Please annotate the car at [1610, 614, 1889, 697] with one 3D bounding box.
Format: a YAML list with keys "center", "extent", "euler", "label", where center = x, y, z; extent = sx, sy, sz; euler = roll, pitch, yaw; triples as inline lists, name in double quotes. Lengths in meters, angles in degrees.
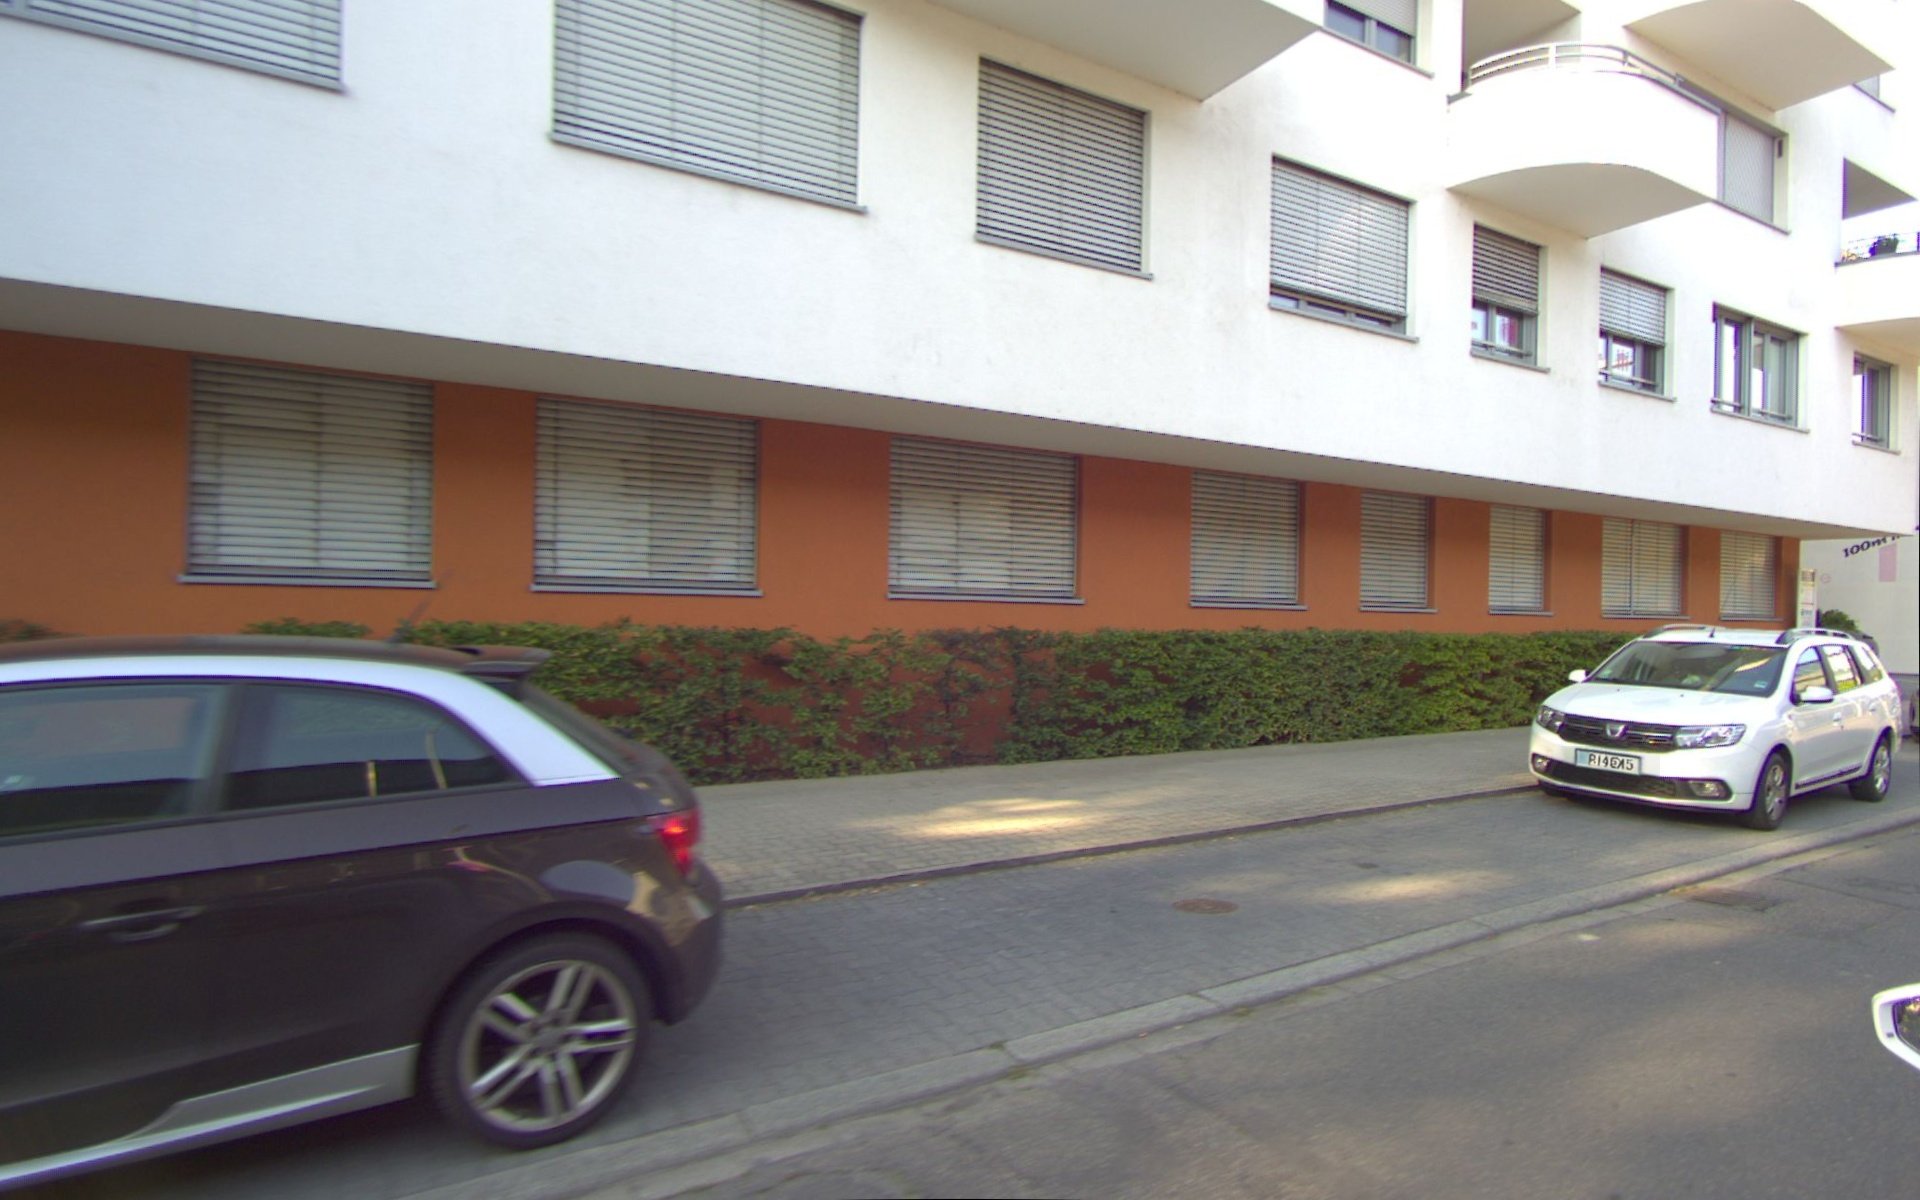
- center: [17.657, 1.155, 22.709]
  extent: [1.992, 1.660, 4.581]
  euler: [1, -1, -32]
  label: "car"

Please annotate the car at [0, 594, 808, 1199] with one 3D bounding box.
- center: [-2.521, 0.751, 2.932]
  extent: [3.730, 1.452, 1.665]
  euler: [2, 1, -33]
  label: "car"

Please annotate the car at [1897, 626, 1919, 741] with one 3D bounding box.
- center: [14.960, 1.222, 14.106]
  extent: [3.814, 1.556, 1.658]
  euler: [2, 1, -32]
  label: "car"

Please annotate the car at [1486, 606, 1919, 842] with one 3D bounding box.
- center: [7.007, 0.962, 9.267]
  extent: [4.574, 1.608, 1.846]
  euler: [2, 1, -35]
  label: "car"
